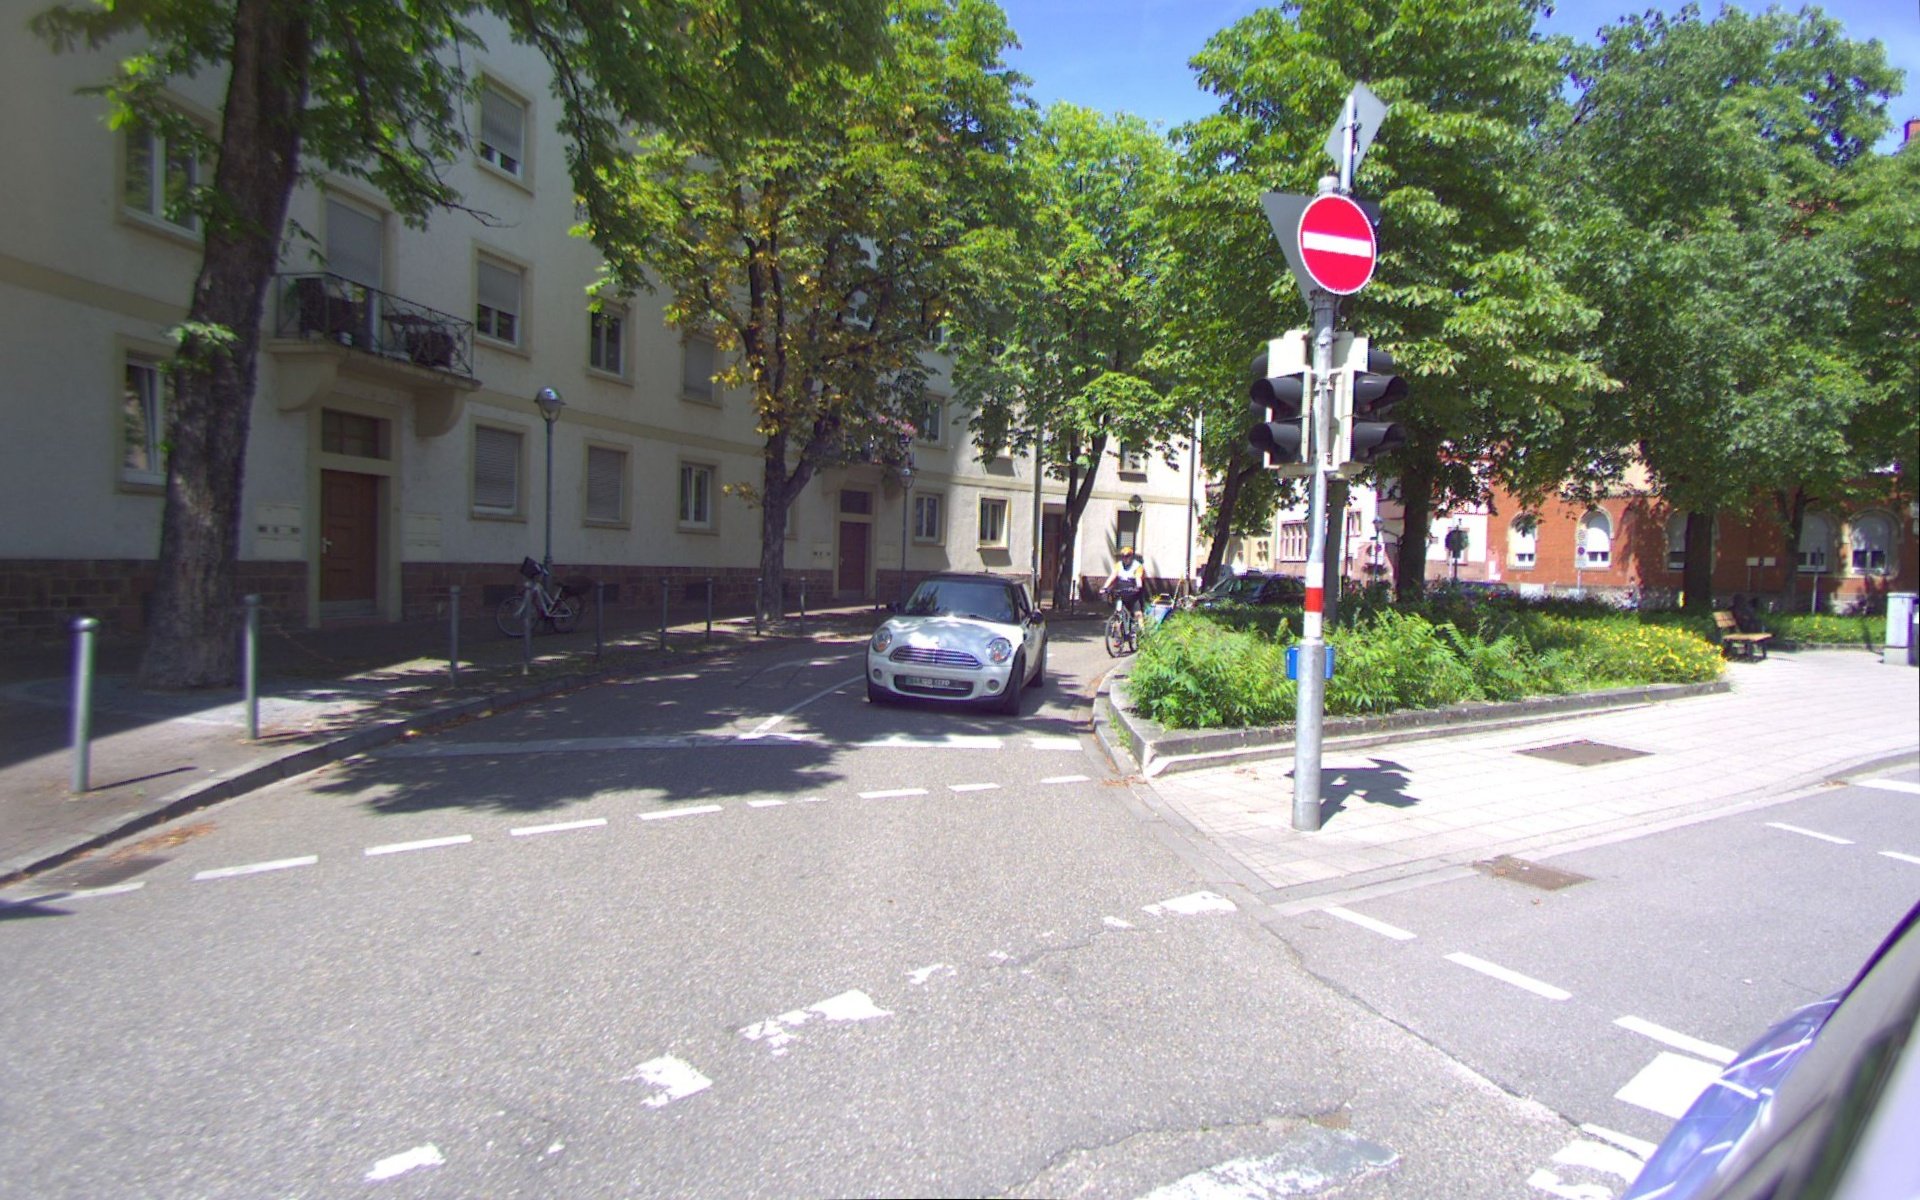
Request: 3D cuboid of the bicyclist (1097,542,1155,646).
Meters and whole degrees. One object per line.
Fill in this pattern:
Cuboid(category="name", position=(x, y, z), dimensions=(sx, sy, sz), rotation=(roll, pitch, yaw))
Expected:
Cuboid(category="bicyclist", position=(2.952, -0.122, 17.959), dimensions=(0.693, 1.788, 0.855), rotation=(3, 2, 31))

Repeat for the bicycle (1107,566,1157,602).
Cuboid(category="bicycle", position=(5.796, -0.522, 34.048), dimensions=(1.899, 1.169, 0.515), rotation=(0, 2, -39))

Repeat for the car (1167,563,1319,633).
Cuboid(category="car", position=(7.113, -0.060, 25.287), dimensions=(3.993, 1.582, 1.613), rotation=(0, 3, -39))

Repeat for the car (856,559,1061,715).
Cuboid(category="car", position=(0.145, 0.294, 11.792), dimensions=(1.669, 1.463, 3.615), rotation=(2, 2, 12))

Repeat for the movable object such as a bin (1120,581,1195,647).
Cuboid(category="movable object such as a bin", position=(3.817, 0.245, 19.457), dimensions=(0.861, 1.169, 1.745), rotation=(3, 2, 30))

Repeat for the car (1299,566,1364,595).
Cuboid(category="car", position=(22.438, -1.202, 61.319), dimensions=(1.668, 1.582, 4.255), rotation=(1, 2, -12))

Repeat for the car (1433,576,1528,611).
Cuboid(category="car", position=(24.594, -0.348, 48.014), dimensions=(1.610, 1.470, 4.329), rotation=(1, 2, -12))

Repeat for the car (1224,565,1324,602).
Cuboid(category="car", position=(15.002, -0.785, 48.376), dimensions=(4.229, 1.582, 1.648), rotation=(2, 2, -10))

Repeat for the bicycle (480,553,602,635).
Cuboid(category="bicycle", position=(-6.432, -0.118, 15.636), dimensions=(0.633, 1.169, 1.790), rotation=(3, 2, 23))

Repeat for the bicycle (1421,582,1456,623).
Cuboid(category="bicycle", position=(16.171, 0.078, 34.160), dimensions=(0.637, 1.309, 1.905), rotation=(3, 2, 37))

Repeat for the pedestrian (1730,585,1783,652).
Cuboid(category="pedestrian", position=(14.421, 0.325, 18.322), dimensions=(0.650, 1.164, 0.633), rotation=(3, 2, 43))

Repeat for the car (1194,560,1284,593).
Cuboid(category="car", position=(14.768, -1.263, 53.571), dimensions=(4.229, 1.582, 1.648), rotation=(2, 2, -10))

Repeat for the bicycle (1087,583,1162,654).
Cuboid(category="bicycle", position=(2.932, 0.296, 17.930), dimensions=(0.676, 1.169, 1.785), rotation=(3, 2, 30))

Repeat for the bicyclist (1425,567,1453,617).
Cuboid(category="bicyclist", position=(16.164, -0.263, 34.148), dimensions=(0.637, 1.643, 0.851), rotation=(3, 2, 38))
